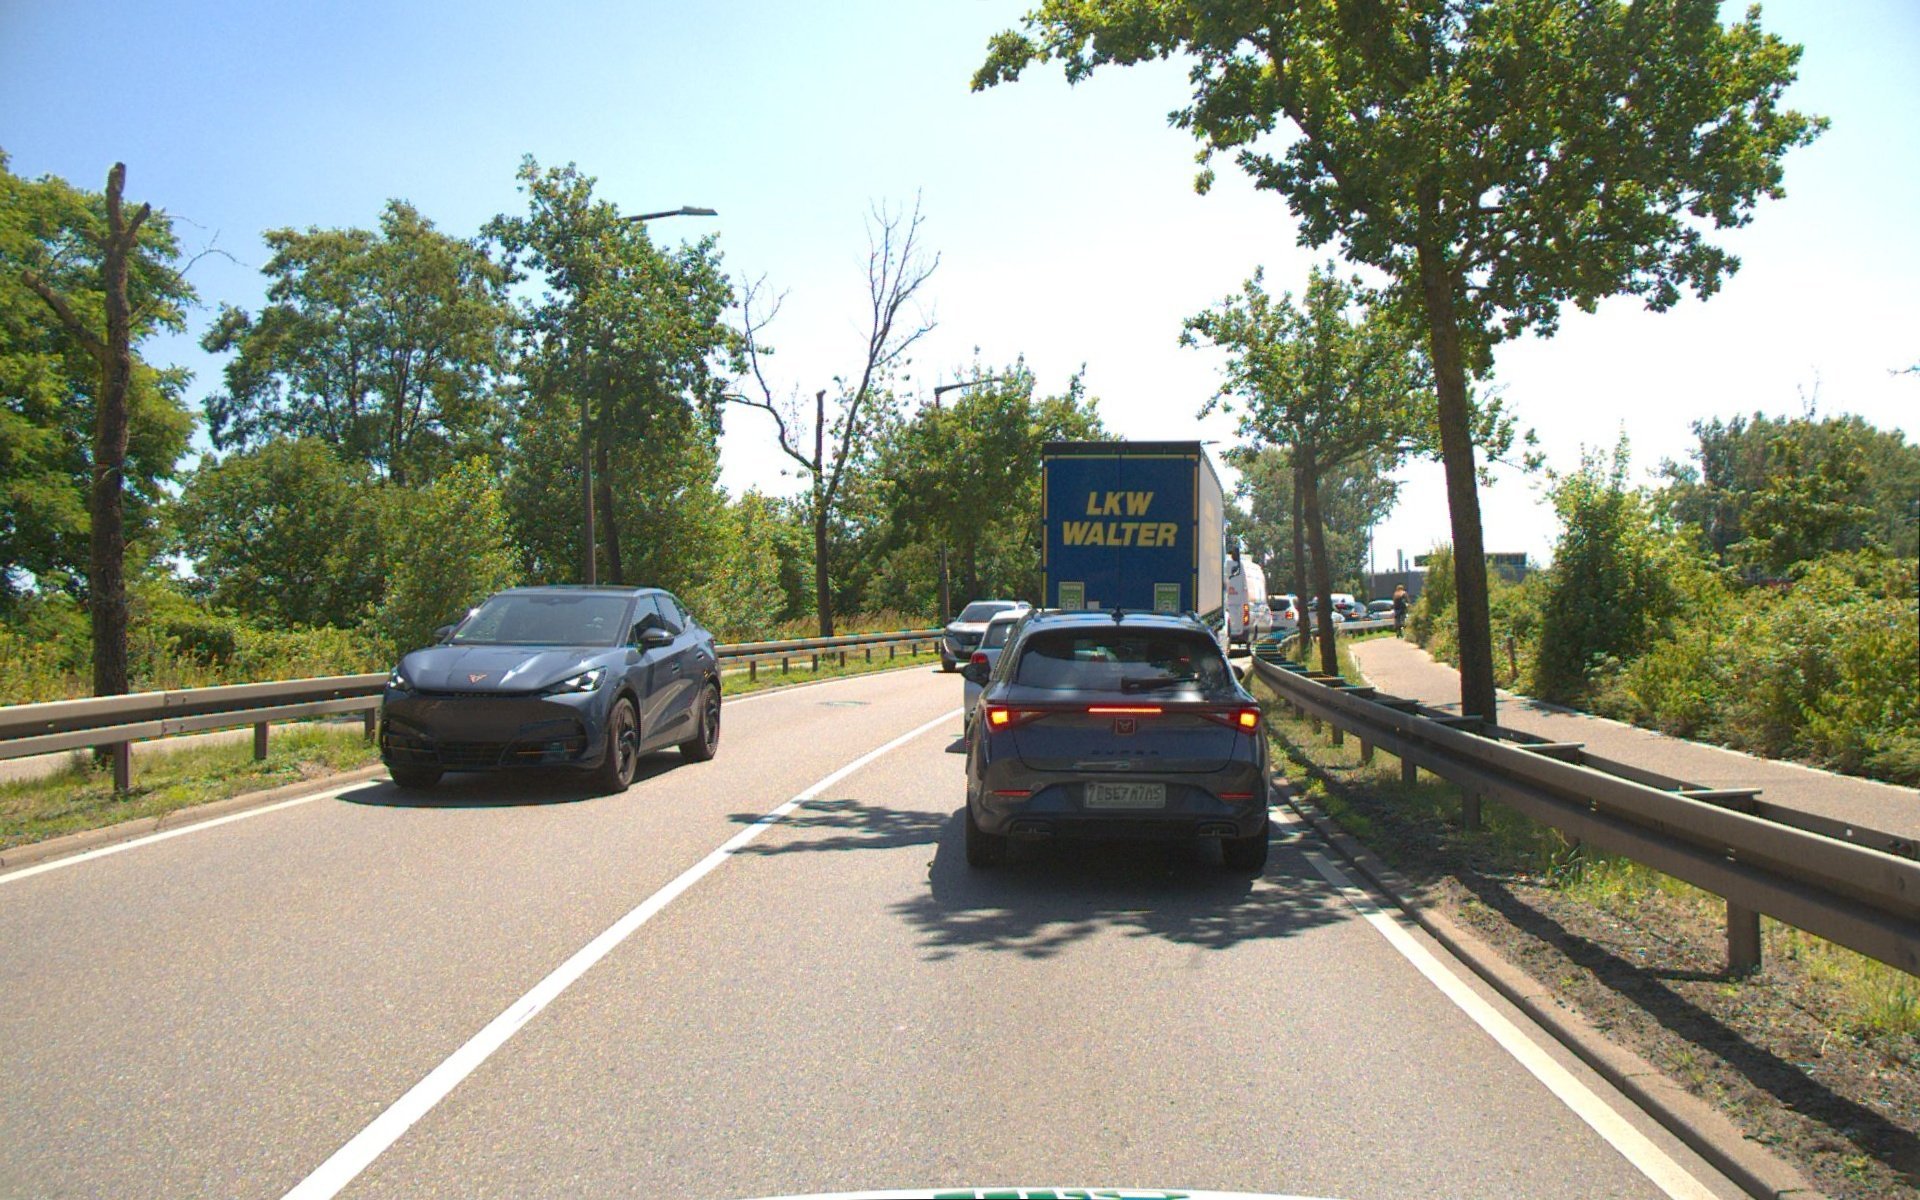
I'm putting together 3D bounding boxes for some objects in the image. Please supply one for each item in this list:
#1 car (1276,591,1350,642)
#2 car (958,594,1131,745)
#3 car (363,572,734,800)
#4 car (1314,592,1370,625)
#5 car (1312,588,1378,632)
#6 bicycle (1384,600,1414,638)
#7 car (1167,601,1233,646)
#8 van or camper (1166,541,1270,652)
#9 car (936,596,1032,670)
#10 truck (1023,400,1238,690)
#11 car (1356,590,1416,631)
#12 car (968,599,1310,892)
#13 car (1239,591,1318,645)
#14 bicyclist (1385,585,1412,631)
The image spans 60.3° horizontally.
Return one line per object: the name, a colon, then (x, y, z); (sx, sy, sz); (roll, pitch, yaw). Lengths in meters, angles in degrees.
car: (13.471, 0.611, 62.946); (1.953, 1.840, 4.845); (0, 0, 22)
car: (1.016, 0.721, 19.021); (1.771, 1.534, 4.002); (1, 0, 4)
car: (-3.302, 0.643, 14.255); (1.830, 1.631, 4.395); (1, 0, 4)
car: (18.925, 0.419, 81.840); (1.716, 1.583, 4.120); (0, 0, 28)
car: (16.244, 0.414, 69.593); (1.953, 1.747, 4.868); (0, 0, 22)
bicycle: (14.791, 0.641, 55.726); (0.842, 1.258, 2.311); (0, 0, 18)
car: (9.206, 0.865, 63.219); (1.830, 1.631, 4.395); (1, 1, 17)
van or camper: (7.676, -0.087, 48.635); (2.414, 3.051, 6.090); (0, 0, 14)
car: (0.603, 0.714, 37.580); (1.712, 1.583, 4.130); (1, 0, 7)
truck: (4.060, -0.825, 34.267); (2.887, 4.527, 16.812); (0, 0, 11)
car: (19.581, 0.470, 75.887); (1.953, 1.799, 4.752); (0, 0, 24)
car: (0.940, 0.740, 10.272); (1.708, 1.457, 3.880); (1, 0, 1)
car: (10.939, 0.603, 56.576); (1.952, 1.742, 4.621); (0, 0, 20)
bicyclist: (14.781, 0.267, 55.749); (0.842, 1.550, 0.980); (0, 0, 18)
